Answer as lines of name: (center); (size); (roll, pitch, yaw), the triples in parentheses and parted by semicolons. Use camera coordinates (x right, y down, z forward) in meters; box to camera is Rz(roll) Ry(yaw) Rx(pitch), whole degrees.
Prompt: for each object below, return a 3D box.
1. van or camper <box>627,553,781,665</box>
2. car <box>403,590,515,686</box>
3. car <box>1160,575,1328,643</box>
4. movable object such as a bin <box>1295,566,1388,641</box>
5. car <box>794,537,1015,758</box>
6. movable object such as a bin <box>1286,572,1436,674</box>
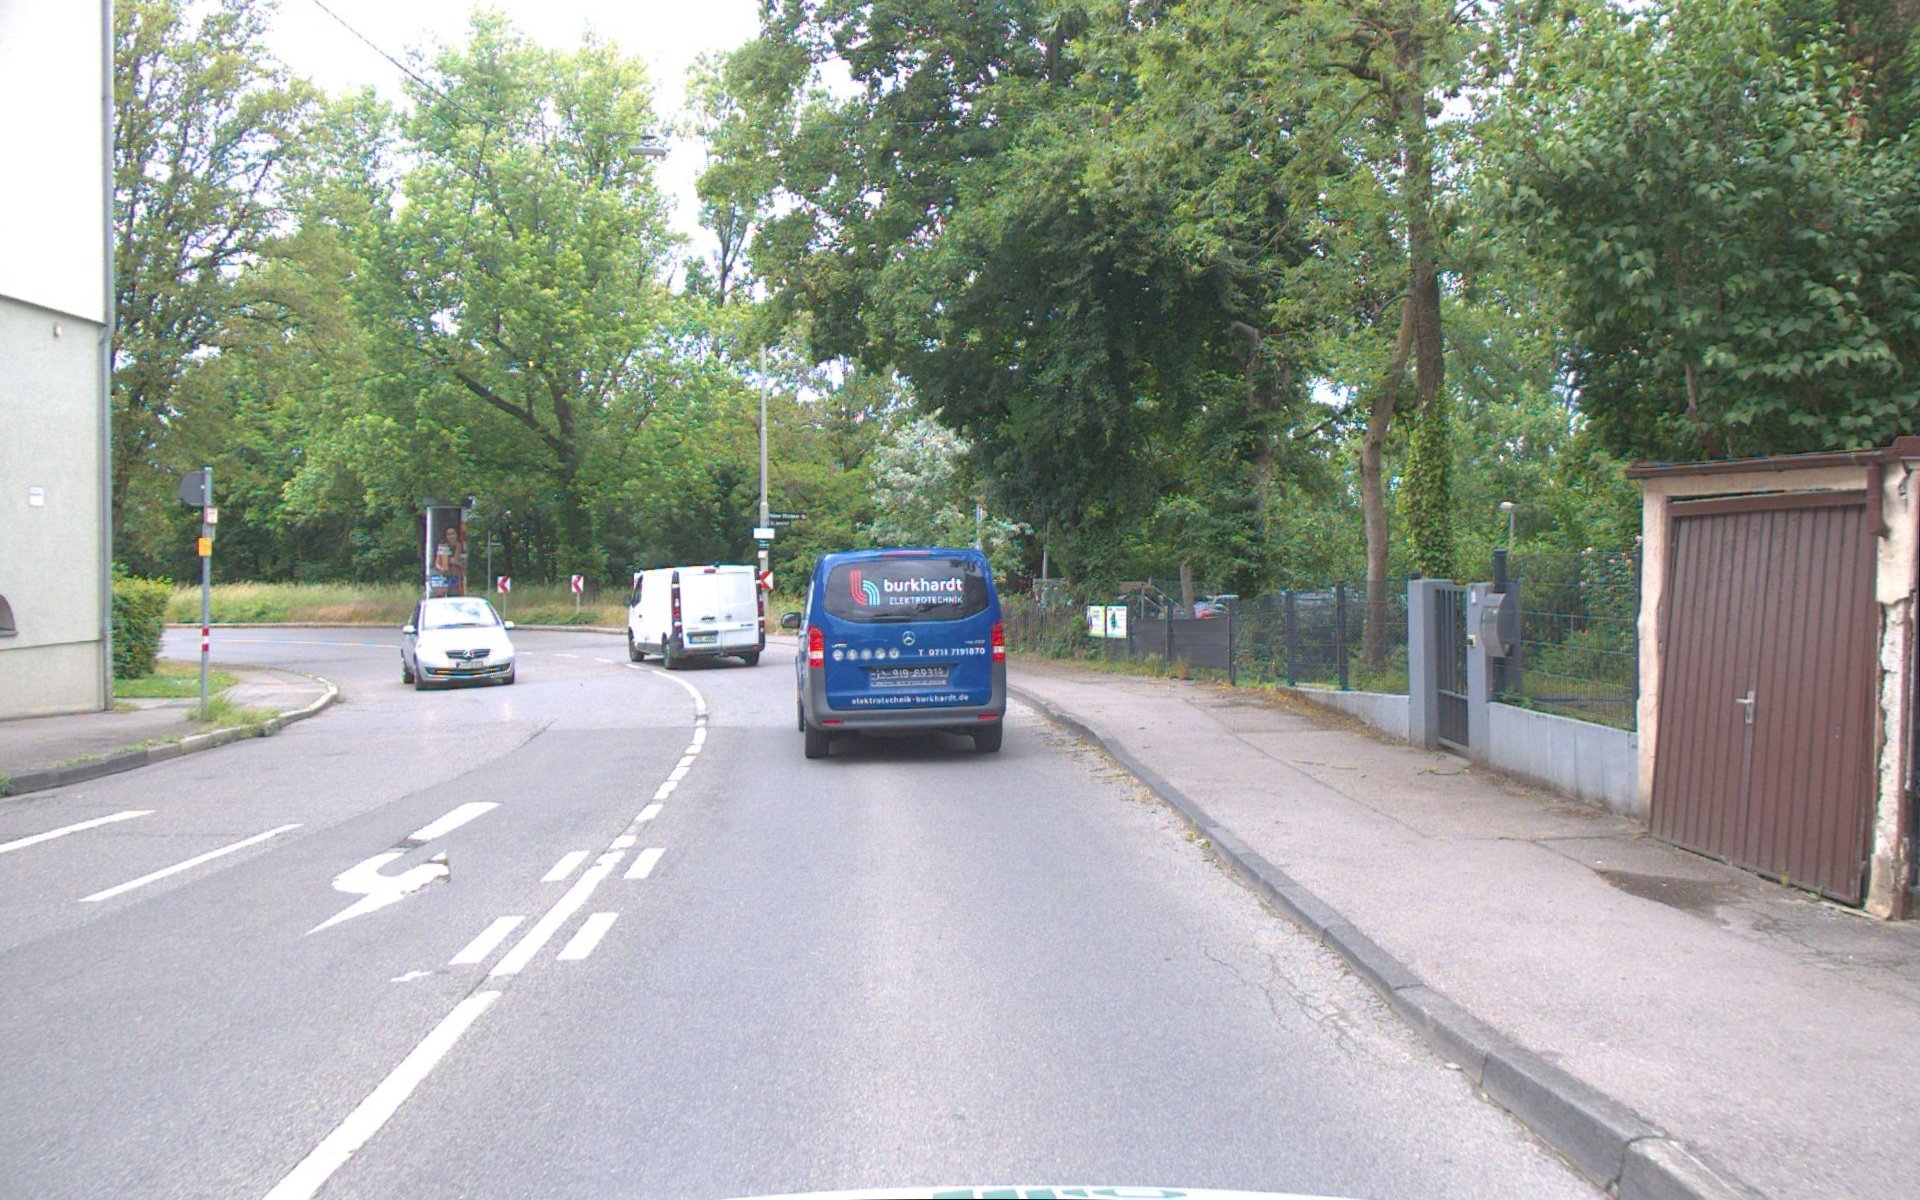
van or camper: (-5.287, 0.156, 33.574); (1.991, 1.990, 4.864); (-4, 2, -21)
car: (-9.487, 0.657, 31.158); (1.698, 1.633, 3.952); (-2, 1, -21)
car: (6.969, 0.227, 40.678); (3.603, 1.423, 1.822); (4, -1, -19)
movable object such as a bin: (8.332, 0.057, 36.192); (1.397, 1.574, 1.670); (-1, 1, -13)
car: (-0.621, 0.387, 16.527); (1.876, 1.869, 4.290); (-1, 1, -4)
movable object such as a bin: (7.565, 0.398, 31.365); (2.064, 1.818, 2.203); (-1, 1, -9)
